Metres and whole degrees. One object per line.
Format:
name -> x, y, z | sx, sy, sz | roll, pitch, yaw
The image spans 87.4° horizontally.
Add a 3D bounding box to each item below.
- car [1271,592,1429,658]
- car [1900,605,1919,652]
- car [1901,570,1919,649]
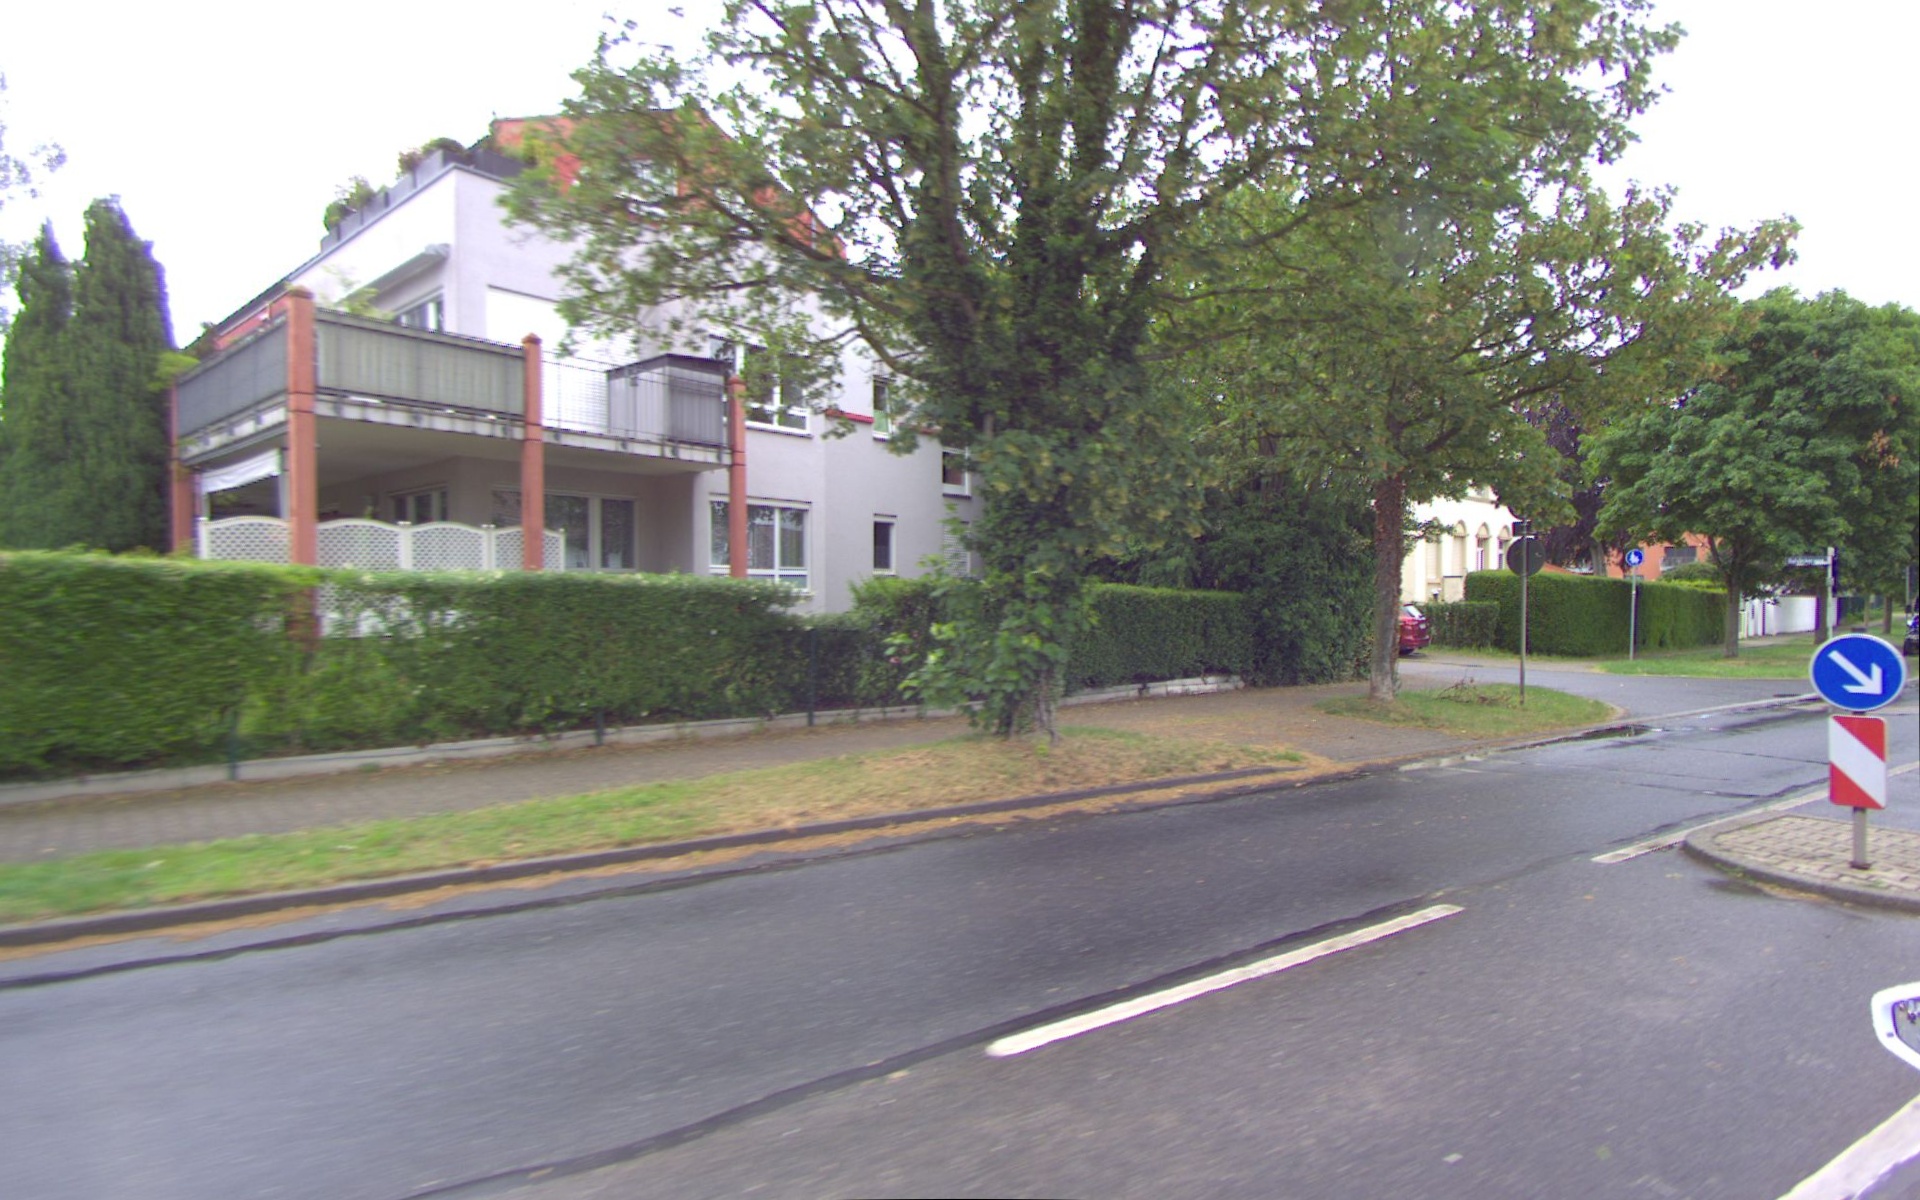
car -> 11.303, 0.657, 29.237 | 3.968, 1.674, 1.685 | 2, 3, 41
car -> 31.060, 0.910, 31.762 | 3.798, 1.427, 1.706 | 1, 1, -43
car -> 36.105, 0.356, 36.710 | 5.894, 2.765, 1.975 | 0, 2, -43
